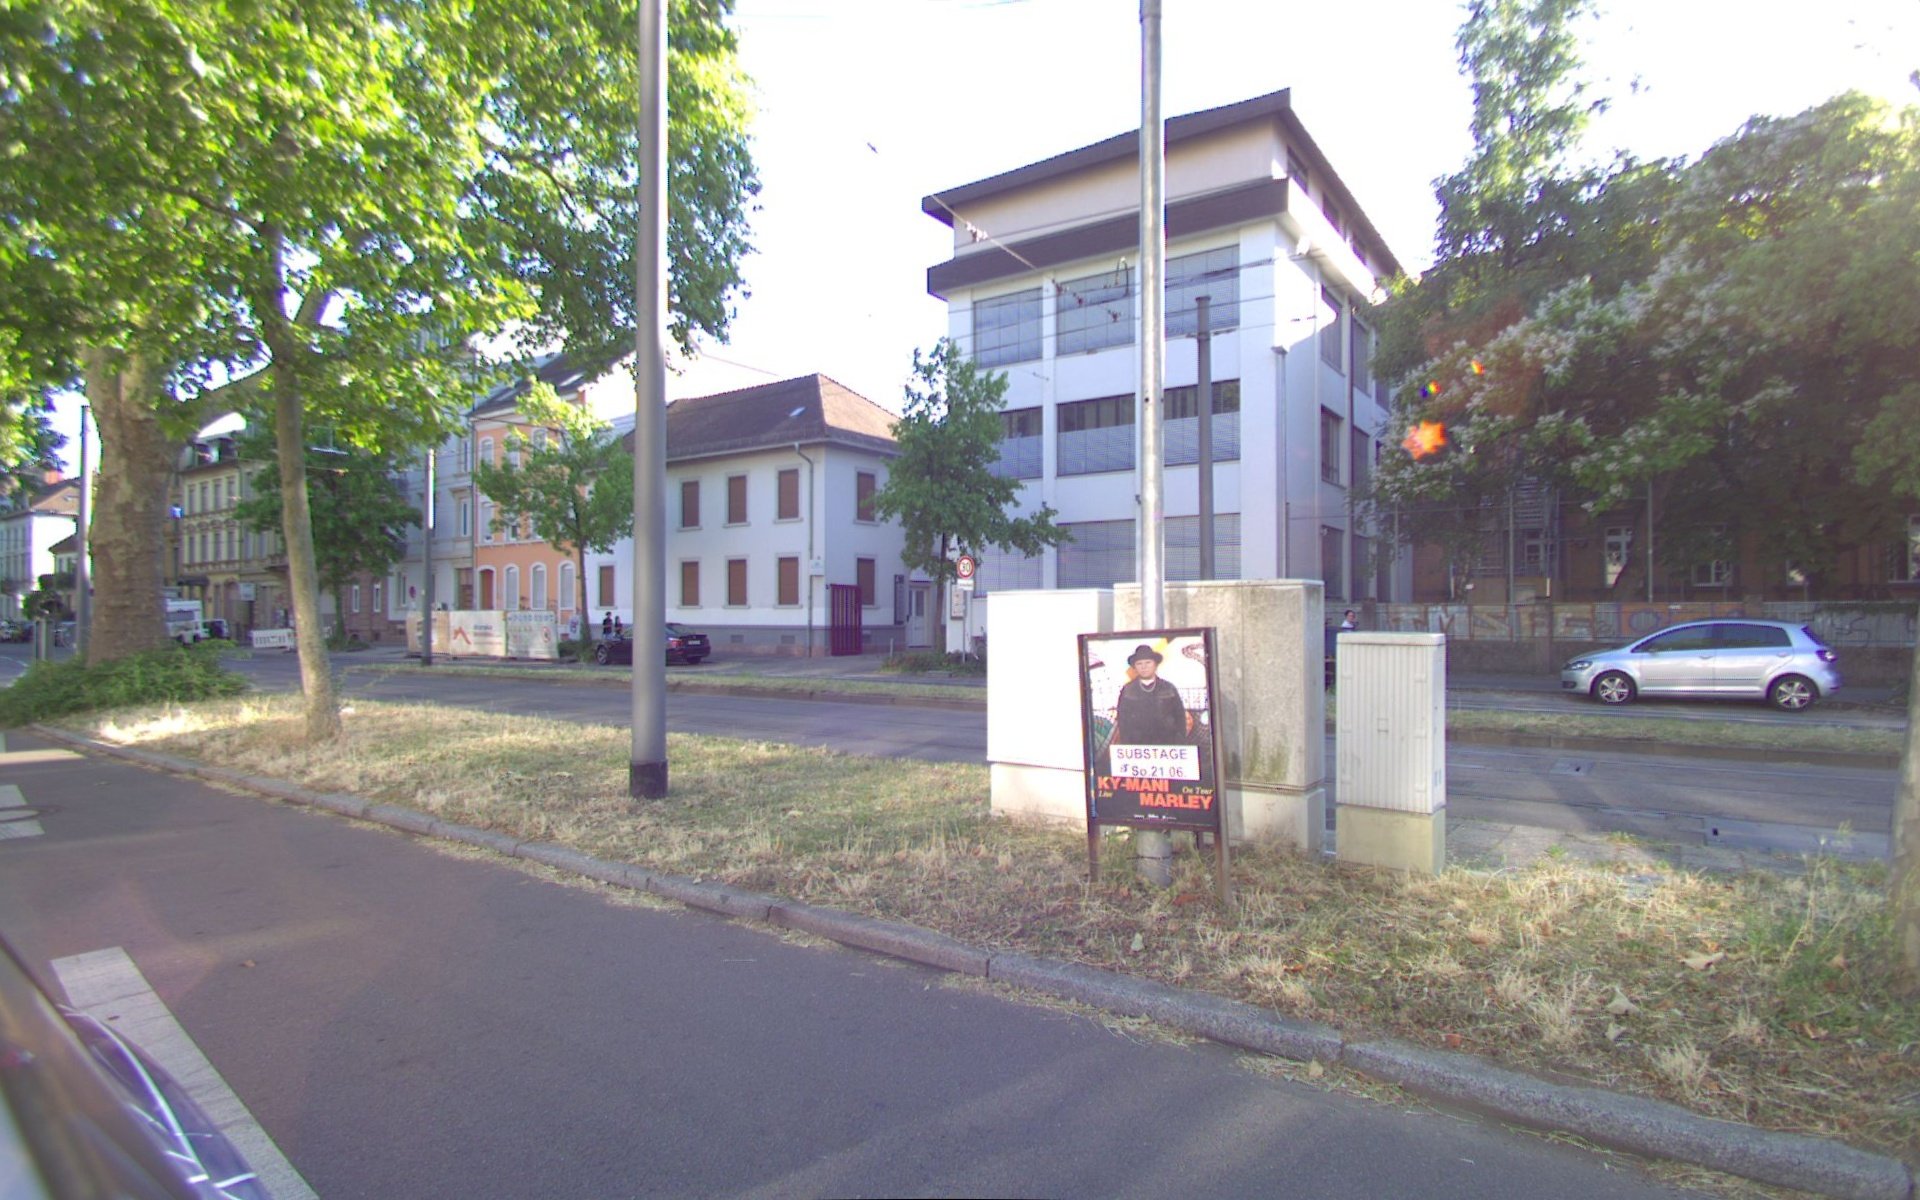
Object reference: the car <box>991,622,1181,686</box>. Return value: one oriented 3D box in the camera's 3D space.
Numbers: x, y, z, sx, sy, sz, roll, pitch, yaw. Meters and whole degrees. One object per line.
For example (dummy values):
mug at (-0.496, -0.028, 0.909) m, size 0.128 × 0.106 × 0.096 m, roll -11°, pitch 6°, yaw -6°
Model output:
car at (3.151, 1.305, 25.614) m, size 4.394 × 1.482 × 1.977 m, roll -1°, pitch -2°, yaw 34°

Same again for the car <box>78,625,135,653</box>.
car at (-57.204, 2.583, 67.815) m, size 4.432 × 1.718 × 1.795 m, roll -1°, pitch 2°, yaw 35°

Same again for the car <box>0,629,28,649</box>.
car at (-76.487, 3.125, 81.145) m, size 4.394 × 1.465 × 1.649 m, roll -1°, pitch 1°, yaw 35°

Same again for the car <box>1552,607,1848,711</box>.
car at (13.330, 1.025, 18.553) m, size 4.167 × 1.702 × 1.977 m, roll -1°, pitch -2°, yaw 34°

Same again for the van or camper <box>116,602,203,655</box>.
van or camper at (-49.240, 1.729, 62.191) m, size 7.238 × 2.969 × 2.397 m, roll -1°, pitch 2°, yaw 37°

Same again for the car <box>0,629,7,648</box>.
car at (-81.244, 3.220, 84.520) m, size 4.460 × 1.502 × 1.569 m, roll -1°, pitch 0°, yaw 35°

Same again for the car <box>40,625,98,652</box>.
car at (-63.242, 2.703, 71.806) m, size 4.739 × 1.715 × 1.977 m, roll -1°, pitch 2°, yaw 35°

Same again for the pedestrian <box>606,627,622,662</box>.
pedestrian at (-14.129, 1.810, 41.329) m, size 0.470 × 1.428 × 0.453 m, roll -1°, pitch -2°, yaw 30°

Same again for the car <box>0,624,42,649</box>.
car at (-73.216, 2.845, 78.902) m, size 3.619 × 1.759 × 1.709 m, roll -1°, pitch 1°, yaw 36°

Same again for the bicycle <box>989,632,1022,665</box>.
bicycle at (1.438, 1.523, 31.967) m, size 1.016 × 1.010 × 0.300 m, roll -1°, pitch -2°, yaw 35°

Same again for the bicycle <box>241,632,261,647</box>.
bicycle at (-44.894, 2.498, 64.075) m, size 1.789 × 0.931 × 0.573 m, roll -1°, pitch -2°, yaw 38°

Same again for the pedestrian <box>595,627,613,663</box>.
pedestrian at (-14.224, 1.795, 40.454) m, size 0.470 × 1.428 × 0.453 m, roll -1°, pitch -2°, yaw 30°

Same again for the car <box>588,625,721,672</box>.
car at (-10.631, 1.637, 35.098) m, size 4.714 × 1.525 × 1.976 m, roll -1°, pitch -2°, yaw 35°

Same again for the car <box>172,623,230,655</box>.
car at (-43.948, 2.240, 58.602) m, size 3.361 × 1.718 × 1.618 m, roll -1°, pitch 1°, yaw 33°

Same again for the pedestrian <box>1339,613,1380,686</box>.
pedestrian at (9.141, 1.125, 23.162) m, size 0.730 × 1.633 × 0.630 m, roll -1°, pitch -1°, yaw 34°
